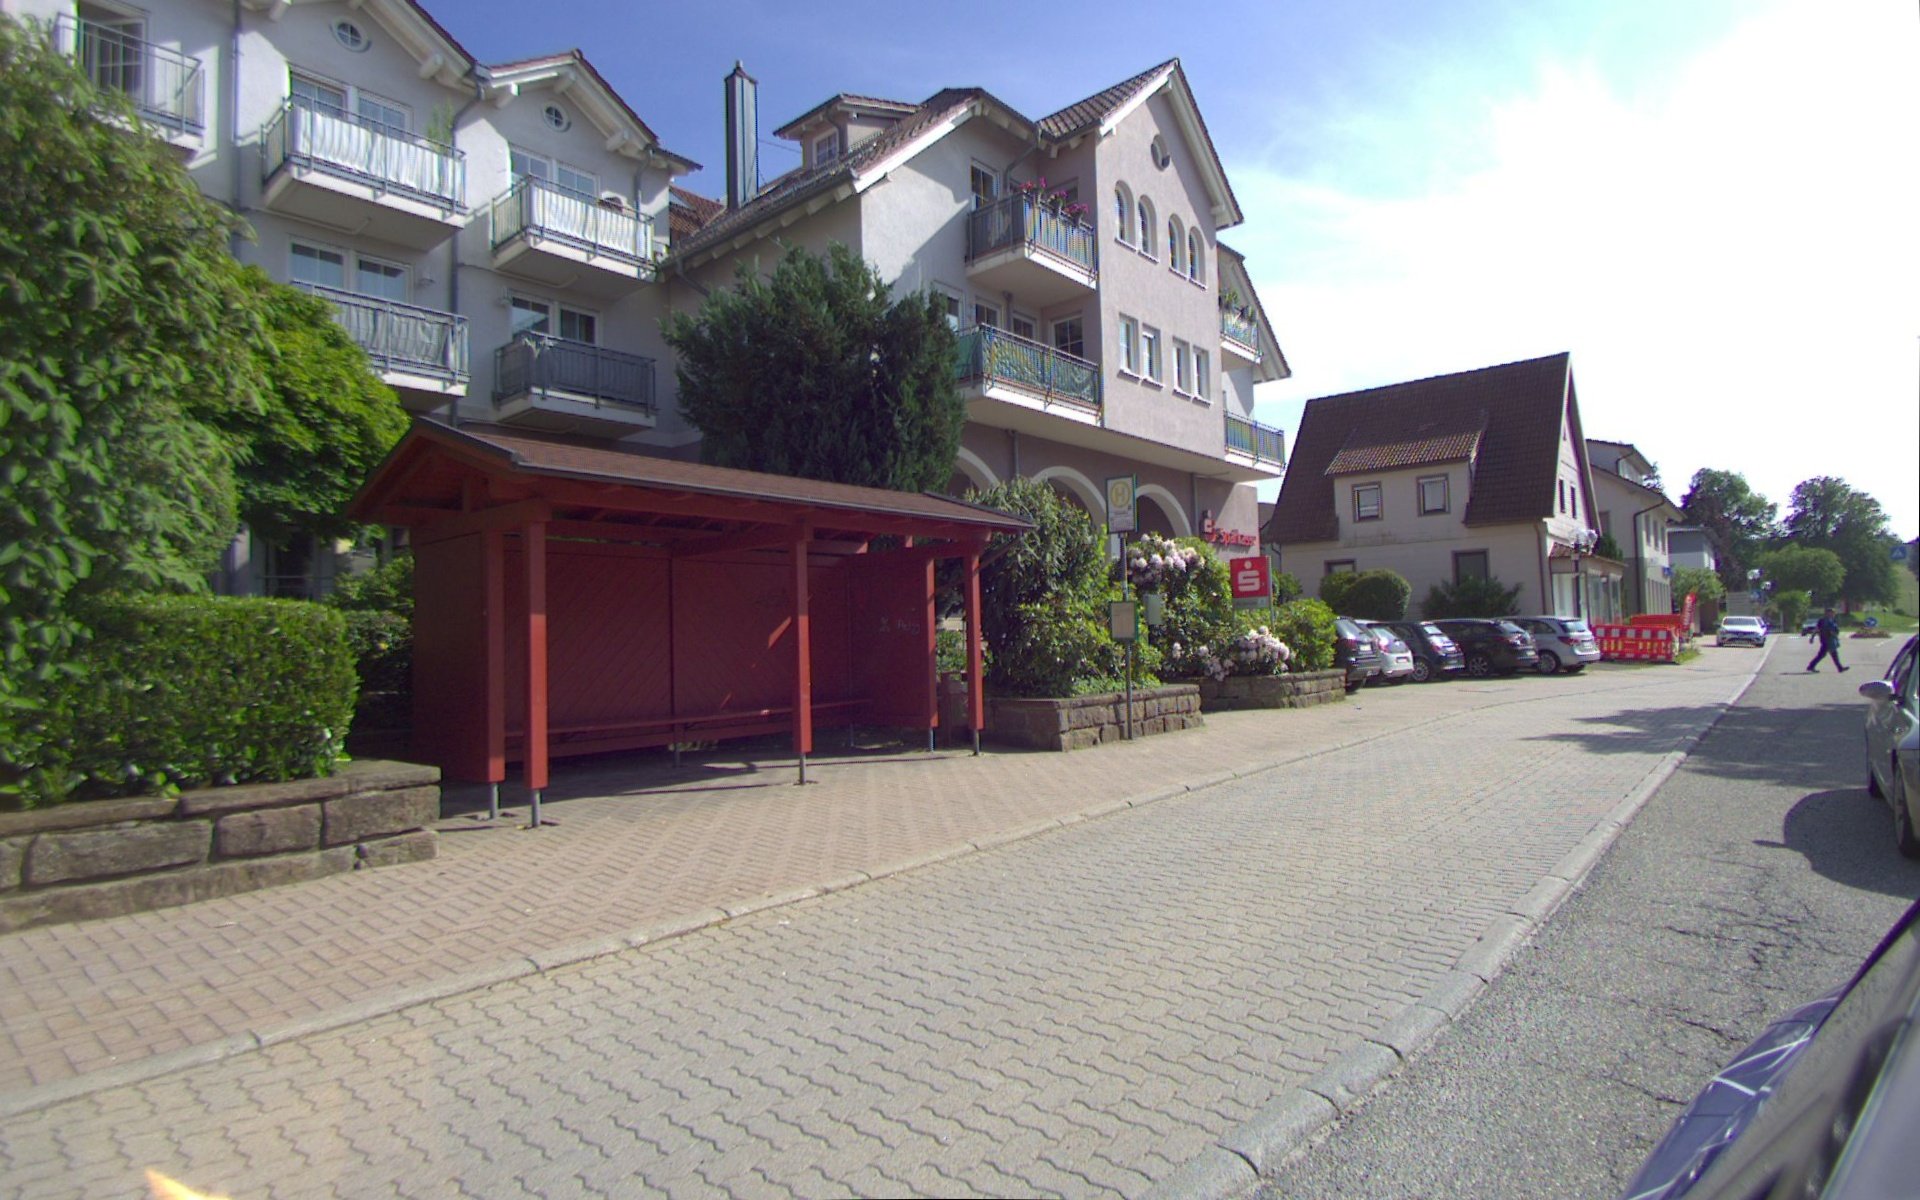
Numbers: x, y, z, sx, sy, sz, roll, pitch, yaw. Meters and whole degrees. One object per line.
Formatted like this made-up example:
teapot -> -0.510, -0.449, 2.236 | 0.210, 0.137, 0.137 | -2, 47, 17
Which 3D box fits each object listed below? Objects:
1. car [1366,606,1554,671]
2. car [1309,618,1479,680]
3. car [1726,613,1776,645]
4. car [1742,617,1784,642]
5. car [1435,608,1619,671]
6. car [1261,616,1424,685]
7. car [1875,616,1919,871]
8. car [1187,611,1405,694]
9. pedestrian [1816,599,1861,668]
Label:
car -> 12.909, 1.038, 26.330 | 1.706, 1.569, 3.994 | 1, -4, -38
car -> 10.779, 1.221, 25.289 | 1.555, 1.437, 3.562 | 1, -3, -41
car -> 37.269, 1.336, 47.772 | 1.630, 1.438, 3.885 | -1, -1, 35
car -> 49.371, 1.796, 62.172 | 1.759, 1.441, 3.577 | -1, -1, 43
car -> 15.297, 1.055, 27.451 | 1.926, 1.578, 3.872 | 1, -2, -36
car -> 8.946, 1.136, 23.815 | 1.600, 1.488, 3.238 | 1, -1, -41
car -> 7.376, 0.814, 6.699 | 1.832, 1.385, 4.513 | 0, -1, 41
car -> 7.049, 1.053, 21.467 | 3.986, 1.568, 1.851 | -2, -2, 44
pedestrian -> 23.422, 0.883, 26.971 | 0.963, 1.807, 0.800 | 1, -2, -45
